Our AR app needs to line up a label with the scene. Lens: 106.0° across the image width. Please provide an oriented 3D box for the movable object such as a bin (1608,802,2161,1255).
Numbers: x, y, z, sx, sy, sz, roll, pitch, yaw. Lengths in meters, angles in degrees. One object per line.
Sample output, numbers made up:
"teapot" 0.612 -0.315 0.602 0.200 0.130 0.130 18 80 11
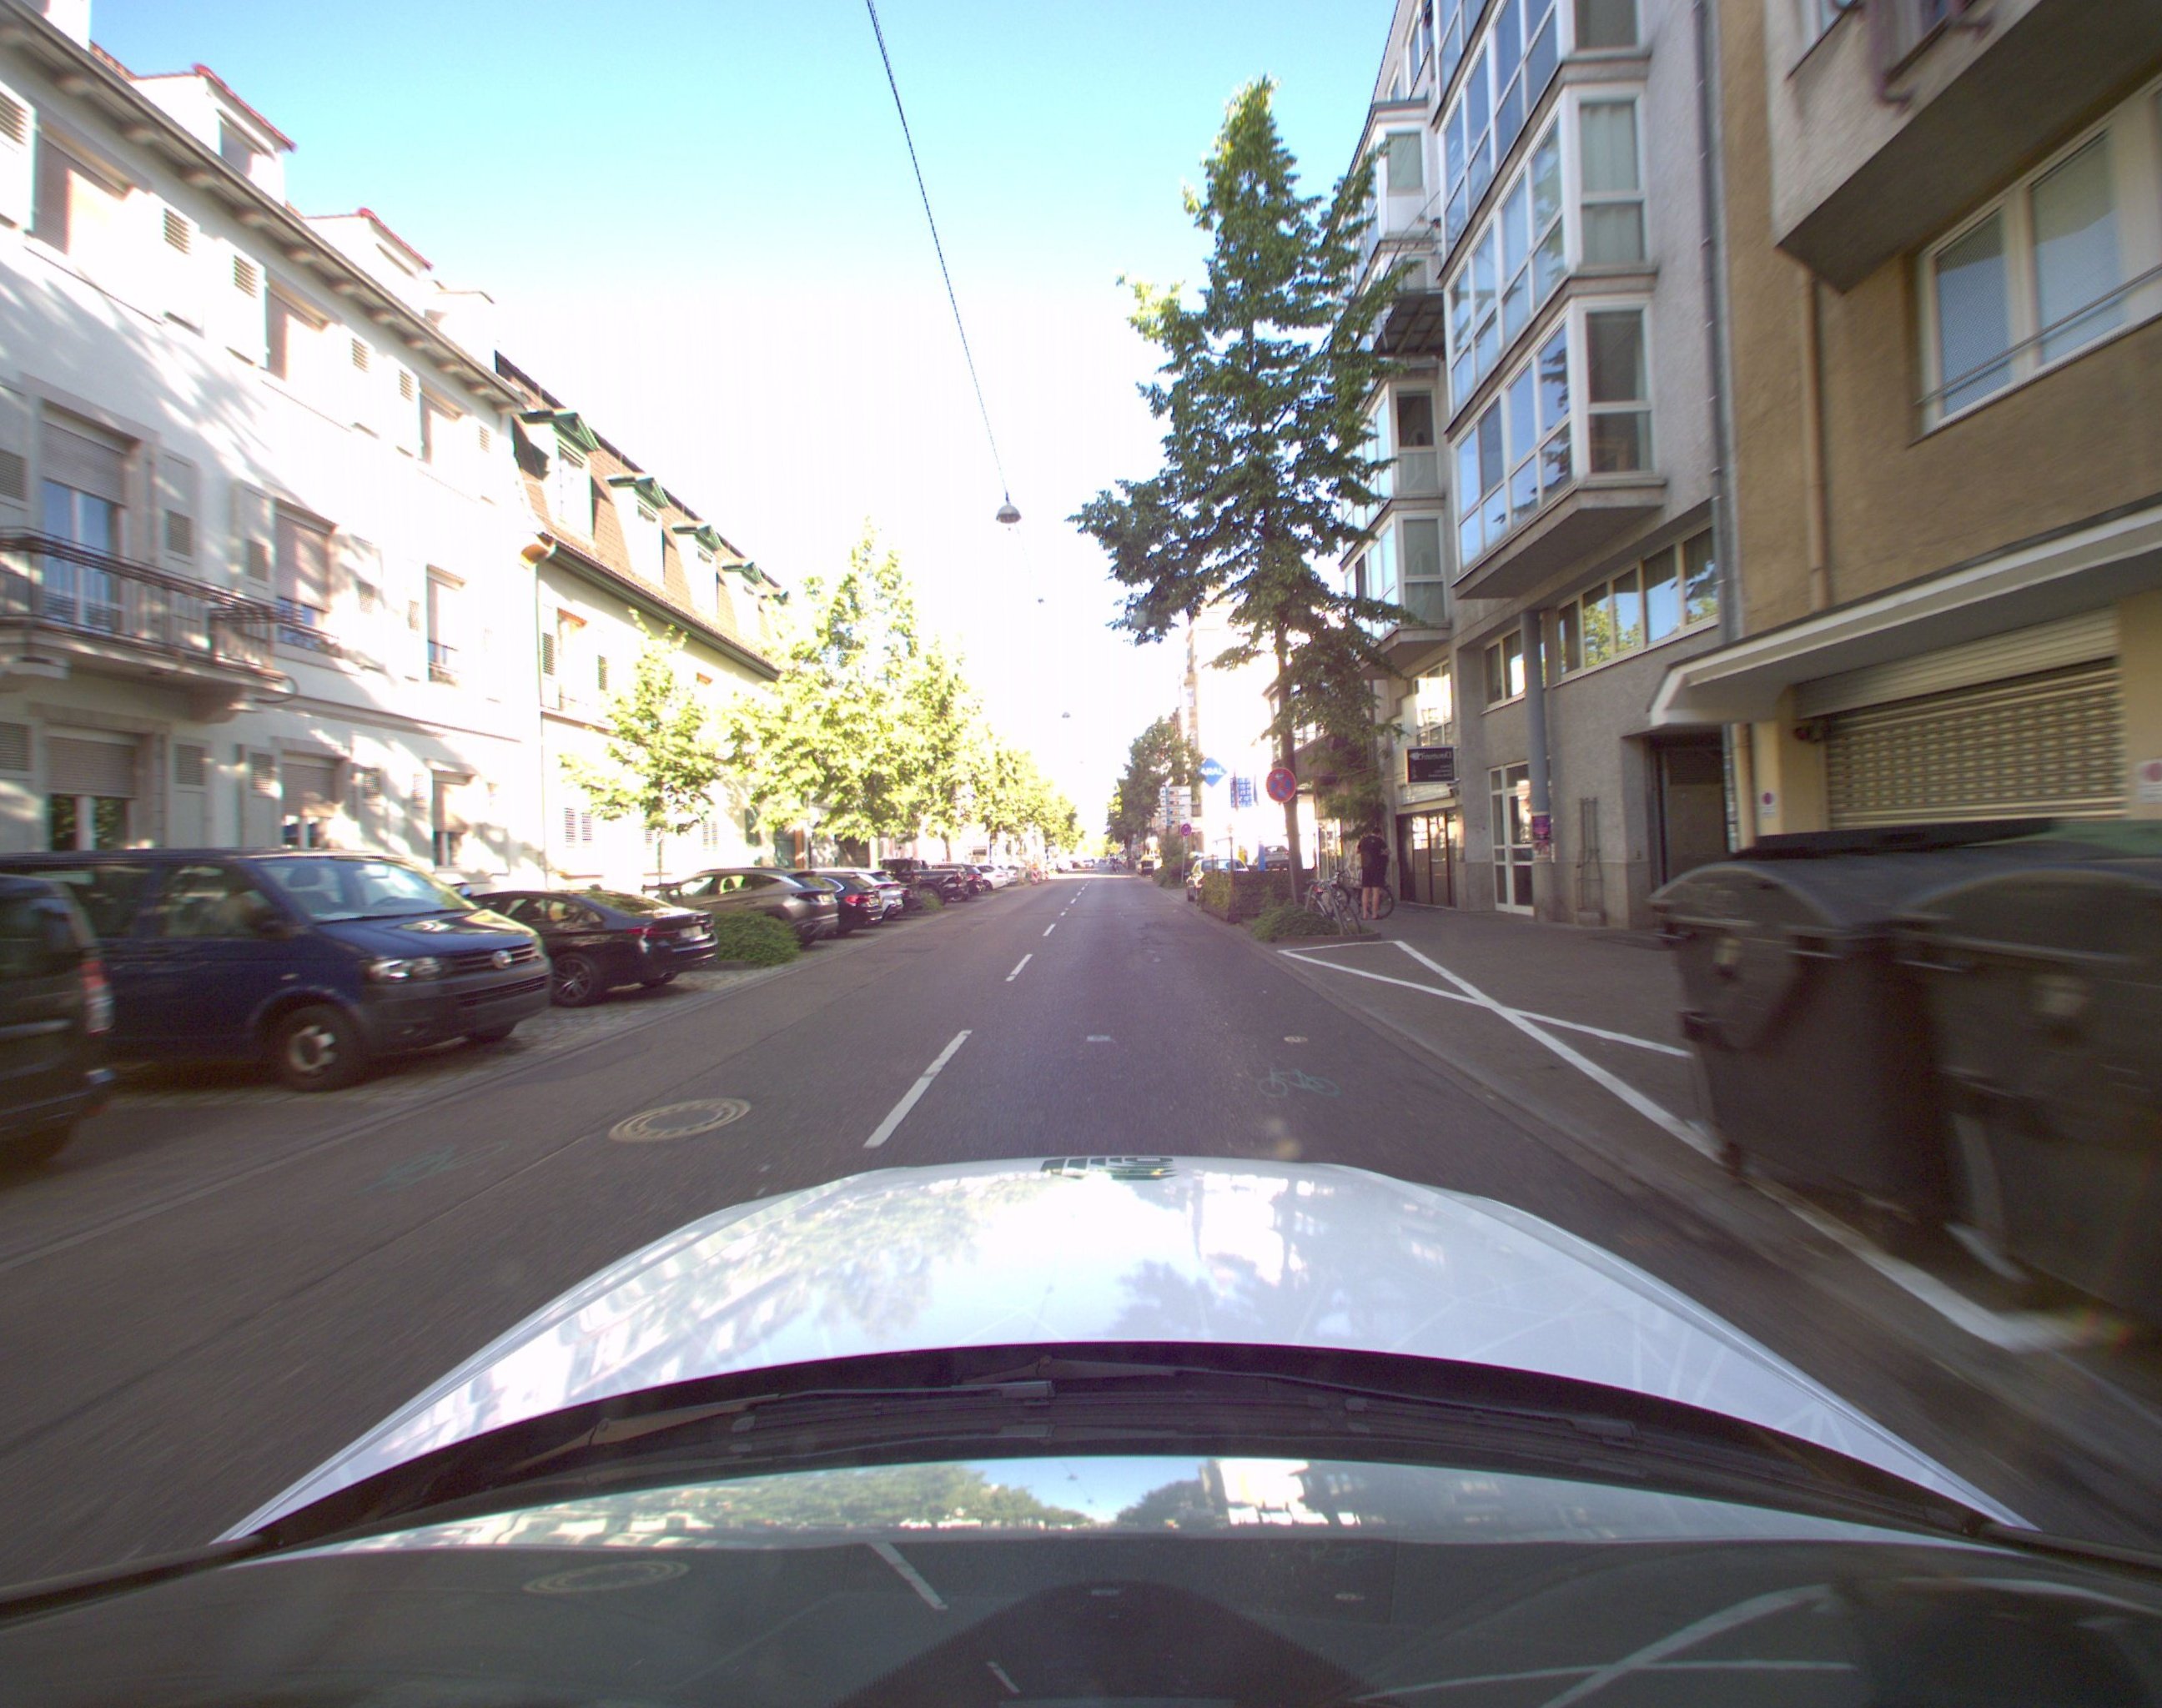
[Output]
"movable object such as a bin" 3.295 0.618 3.449 1.325 1.542 1.146 -3 -1 1

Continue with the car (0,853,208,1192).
"car" -7.890 0.953 4.358 4.448 1.772 1.918 -2 -1 3

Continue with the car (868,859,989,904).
"car" -6.374 1.130 34.307 4.661 1.693 1.809 -2 -1 3

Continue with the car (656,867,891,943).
"car" -6.975 1.135 18.773 4.661 1.519 1.809 -2 -1 3

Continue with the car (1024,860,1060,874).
"car" -4.476 1.517 94.100 3.973 1.390 2.000 -3 0 0

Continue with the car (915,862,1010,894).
"car" -6.108 1.227 42.358 4.667 1.465 1.807 -2 -1 -2

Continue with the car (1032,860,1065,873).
"car" -3.964 1.472 99.881 3.973 1.390 2.000 -3 0 0

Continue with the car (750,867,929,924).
"car" -7.039 1.192 24.023 4.661 1.463 1.809 -2 -1 3

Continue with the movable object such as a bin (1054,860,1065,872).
"movable object such as a bin" -2.818 1.582 106.537 1.330 1.478 1.480 -3 0 1

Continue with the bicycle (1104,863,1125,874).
"bicycle" 3.243 1.413 79.611 1.963 1.059 0.761 -2 -1 -34

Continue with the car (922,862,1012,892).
"car" -6.242 1.232 44.923 4.667 1.465 1.807 -2 -1 -2

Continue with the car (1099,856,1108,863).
"car" 5.476 1.355 198.263 1.816 1.391 4.301 -5 -1 1

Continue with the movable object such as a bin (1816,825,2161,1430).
"movable object such as a bin" 3.307 0.645 2.284 1.394 1.454 1.146 -3 -1 1

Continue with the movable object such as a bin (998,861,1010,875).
"movable object such as a bin" -8.661 1.580 91.753 1.136 1.485 1.235 -3 0 -1

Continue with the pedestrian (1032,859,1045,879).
"pedestrian" -3.591 1.275 68.594 0.797 1.707 0.759 -1 -1 -32

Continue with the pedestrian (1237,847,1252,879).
"pedestrian" 9.605 0.539 47.841 0.704 1.850 0.689 -3 -1 2

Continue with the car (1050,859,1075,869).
"car" -3.007 1.635 135.561 3.973 1.500 2.000 -3 0 0

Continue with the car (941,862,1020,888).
"car" -6.158 1.260 50.330 4.667 1.412 1.807 -2 -1 -2

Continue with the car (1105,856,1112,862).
"car" 7.487 1.363 220.879 1.786 1.411 4.001 -3 0 1

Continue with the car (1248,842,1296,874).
"car" 10.909 0.245 46.726 1.893 1.648 4.297 -3 0 3

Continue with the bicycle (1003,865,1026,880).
"bicycle" -5.563 1.536 67.778 1.775 1.252 0.602 -1 -1 12

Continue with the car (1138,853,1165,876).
"car" 5.665 0.818 65.955 1.815 1.679 4.603 -5 -1 2

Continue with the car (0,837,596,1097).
"car" -7.325 0.925 7.407 4.661 1.950 1.918 -2 -1 3

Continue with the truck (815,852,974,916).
"truck" -6.557 1.043 29.031 5.067 1.938 2.000 -3 0 1

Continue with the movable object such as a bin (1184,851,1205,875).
"movable object such as a bin" 8.223 0.656 59.015 1.201 1.627 1.498 -3 -1 0

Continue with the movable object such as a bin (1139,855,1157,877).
"movable object such as a bin" 5.056 0.925 61.647 1.135 1.562 1.463 -3 -1 10

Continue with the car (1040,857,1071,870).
"car" -3.520 1.302 112.793 3.967 1.694 2.004 -3 0 6

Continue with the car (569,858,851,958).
"car" -7.135 1.018 15.969 4.661 1.712 1.809 -2 -1 3

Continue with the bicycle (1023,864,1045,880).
"bicycle" -3.998 1.506 68.939 1.852 1.252 0.599 -1 0 -6

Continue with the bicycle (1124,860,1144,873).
"bicycle" 5.714 1.353 88.079 2.034 1.220 0.717 -2 -1 -17

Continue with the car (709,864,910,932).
"car" -7.099 1.128 21.582 4.661 1.572 1.809 -2 -1 3

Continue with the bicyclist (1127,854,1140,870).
"bicyclist" 5.692 0.895 88.088 1.156 1.693 0.717 -2 -1 -17

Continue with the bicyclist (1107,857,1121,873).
"bicyclist" 3.248 1.083 79.611 1.045 1.560 0.761 -2 -1 -33

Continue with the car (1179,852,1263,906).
"car" 4.326 0.735 25.843 1.894 1.412 4.648 -4 0 1

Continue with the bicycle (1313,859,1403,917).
"bicycle" 5.897 0.726 17.401 0.686 1.148 1.665 -2 -1 -40

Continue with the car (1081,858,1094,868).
"car" 1.025 1.424 126.683 1.796 1.435 4.410 -5 -1 1

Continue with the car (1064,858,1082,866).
"car" -1.806 1.802 180.522 3.973 1.500 2.000 -3 0 0

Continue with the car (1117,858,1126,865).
"car" 9.852 1.893 198.825 1.986 1.508 4.001 -2 -1 1

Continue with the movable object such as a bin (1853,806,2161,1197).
"movable object such as a bin" 4.480 0.516 3.482 1.073 1.431 1.296 -3 0 2

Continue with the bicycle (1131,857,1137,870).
"bicycle" 6.370 1.126 97.803 0.558 1.441 1.629 -8 0 2

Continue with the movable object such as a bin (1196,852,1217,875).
"movable object such as a bin" 8.884 0.666 57.633 1.266 1.530 1.176 -3 -1 0

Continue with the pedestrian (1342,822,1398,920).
"pedestrian" 5.910 0.341 16.651 0.916 1.935 0.765 -3 -1 26

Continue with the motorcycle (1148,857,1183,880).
"motorcycle" 5.341 0.926 51.299 1.978 1.330 0.908 -3 0 -11

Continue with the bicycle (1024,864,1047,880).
"bicycle" -3.819 1.517 67.920 1.852 1.252 0.599 -1 0 -6

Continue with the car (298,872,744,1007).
"car" -7.096 1.050 10.631 4.629 1.459 1.684 -2 -1 1

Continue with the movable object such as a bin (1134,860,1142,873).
"movable object such as a bin" 5.593 1.200 79.591 0.703 1.222 0.680 -3 0 -1

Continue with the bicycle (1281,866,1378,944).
"bicycle" 4.110 0.802 13.643 0.607 1.120 2.050 -9 0 -7
